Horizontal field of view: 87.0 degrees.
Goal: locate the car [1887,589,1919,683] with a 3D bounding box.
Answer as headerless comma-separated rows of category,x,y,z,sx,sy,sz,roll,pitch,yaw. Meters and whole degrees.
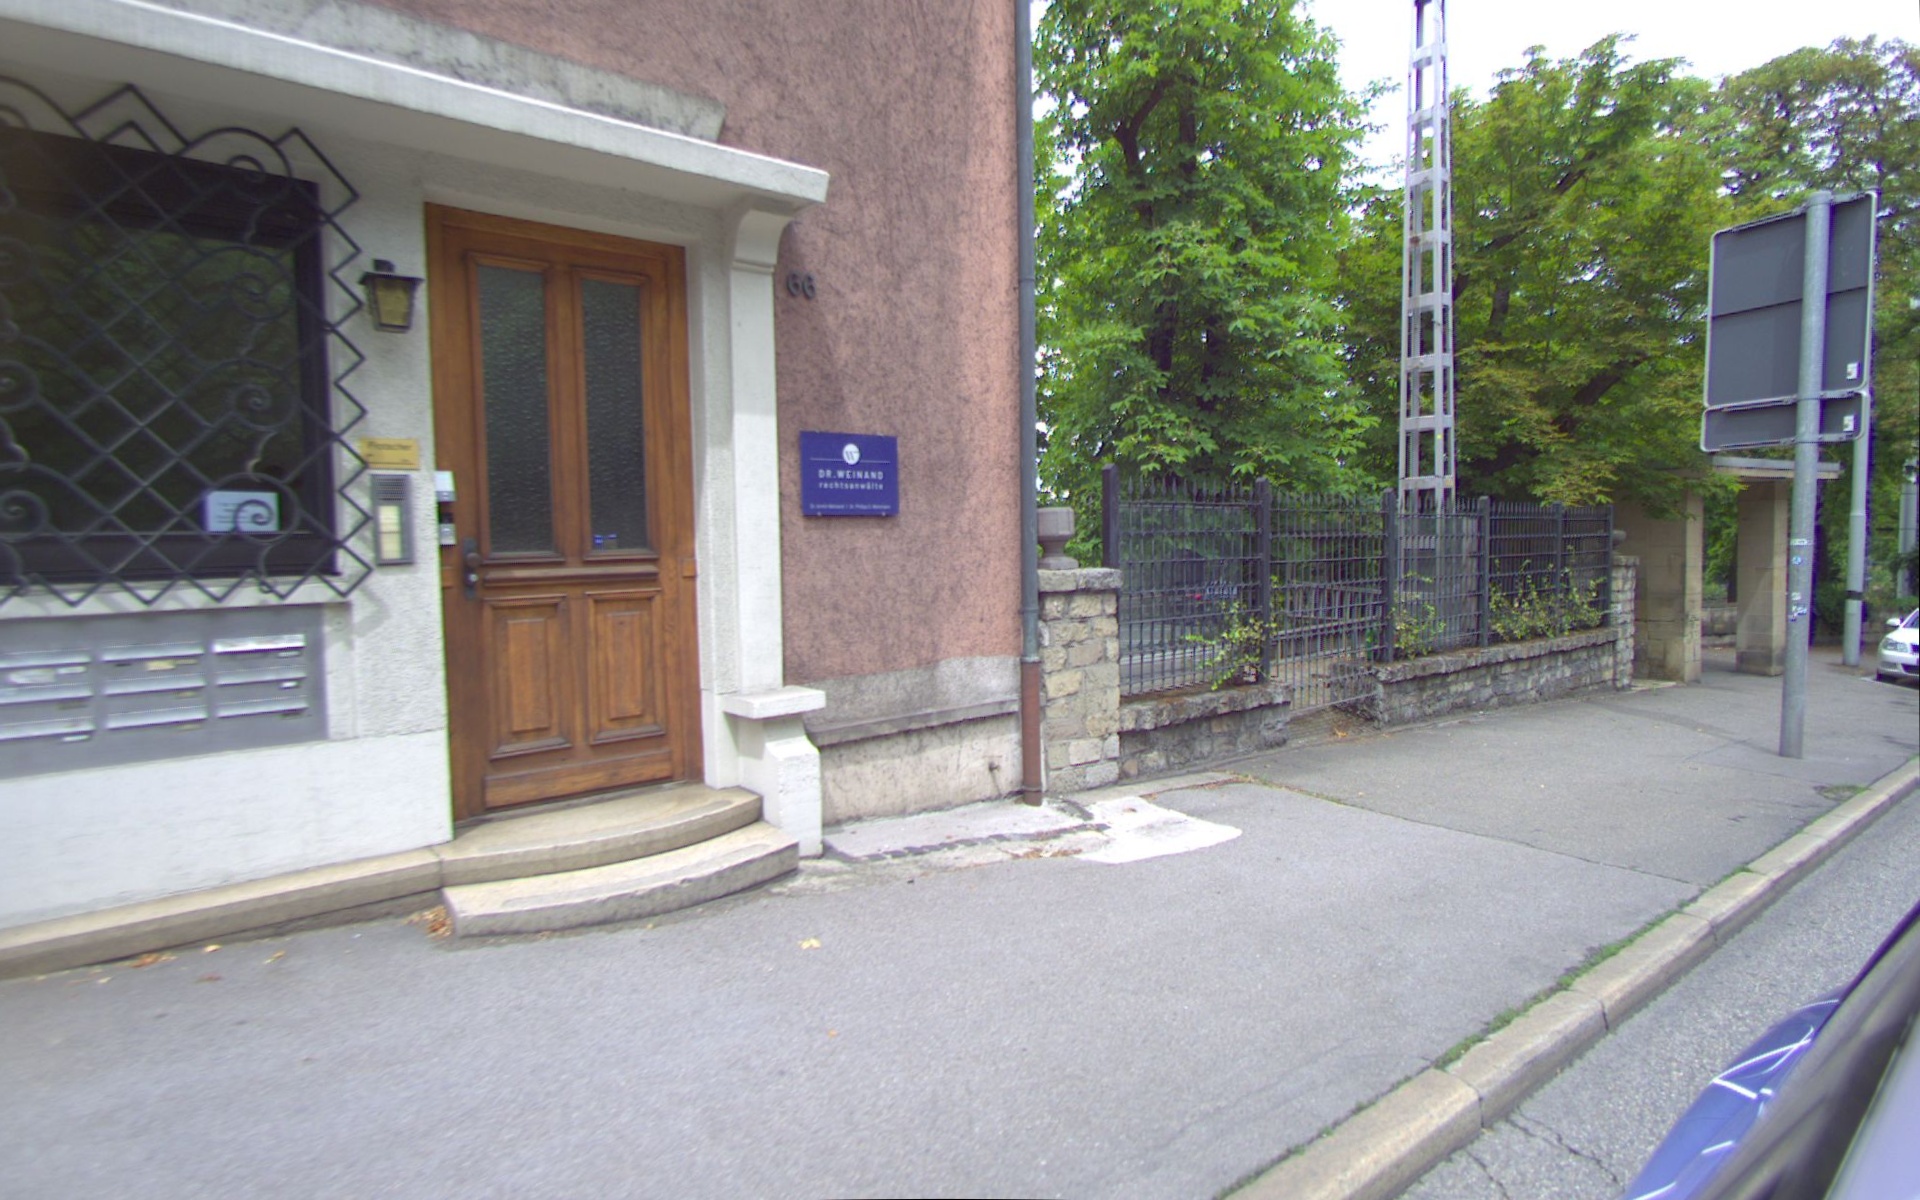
car,17.274,0.607,17.038,4.285,1.479,1.681,0,3,-37

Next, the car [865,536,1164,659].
car,0.841,-0.041,14.553,3.926,1.526,1.999,1,1,-37

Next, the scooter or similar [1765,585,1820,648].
scooter or similar,17.451,0.337,21.212,1.146,1.275,0.519,0,4,-34
